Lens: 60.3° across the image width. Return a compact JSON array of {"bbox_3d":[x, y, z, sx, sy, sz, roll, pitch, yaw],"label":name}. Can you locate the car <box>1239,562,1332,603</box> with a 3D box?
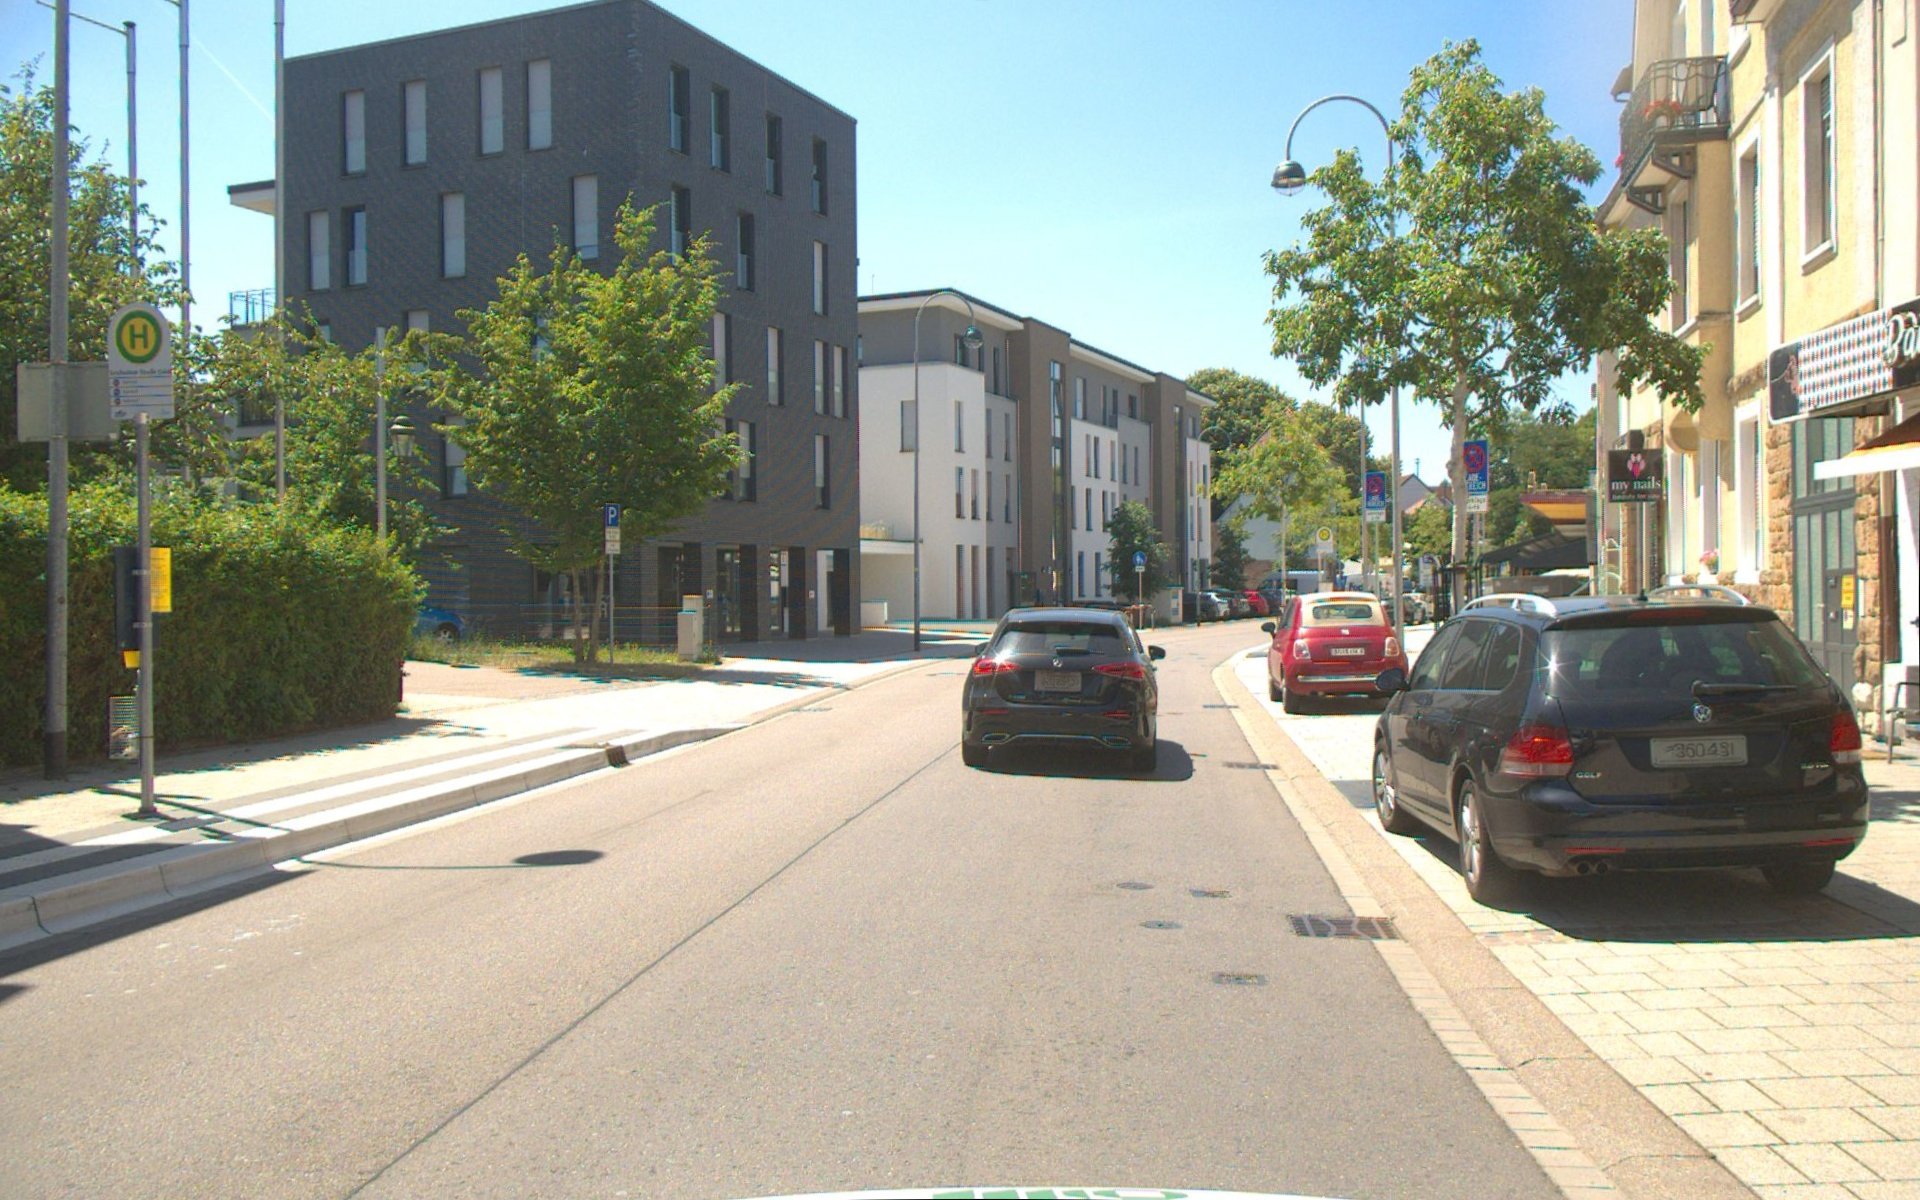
[{"bbox_3d":[21.236,-1.143,107.887,5.532,2.624,2.512,0,0,27],"label":"car"}]

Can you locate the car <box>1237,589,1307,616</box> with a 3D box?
[{"bbox_3d":[19.462,0.154,103.065,3.908,1.691,1.998,0,0,25],"label":"car"}]

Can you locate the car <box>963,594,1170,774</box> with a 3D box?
[{"bbox_3d":[1.109,0.708,16.309,1.725,1.483,4.441,2,0,5],"label":"car"}]

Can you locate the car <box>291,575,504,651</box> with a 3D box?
[{"bbox_3d":[-12.515,0.277,36.977,1.961,1.596,4.150,0,0,37],"label":"car"}]

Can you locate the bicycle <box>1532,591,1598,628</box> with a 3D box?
[{"bbox_3d":[19.995,0.315,54.666,2.006,1.199,0.892,0,0,25],"label":"bicycle"}]

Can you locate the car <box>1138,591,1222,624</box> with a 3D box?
[{"bbox_3d":[11.281,0.370,84.810,3.908,1.691,1.998,0,0,25],"label":"car"}]

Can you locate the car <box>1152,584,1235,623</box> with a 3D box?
[{"bbox_3d":[12.308,0.181,87.100,3.909,2.049,1.998,0,0,27],"label":"car"}]

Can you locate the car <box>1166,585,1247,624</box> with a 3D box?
[{"bbox_3d":[13.338,0.242,89.355,3.909,2.049,1.998,0,0,27],"label":"car"}]

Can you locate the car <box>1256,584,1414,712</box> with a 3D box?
[{"bbox_3d":[5.004,0.597,22.456,1.572,1.557,3.494,-2,0,4],"label":"car"}]

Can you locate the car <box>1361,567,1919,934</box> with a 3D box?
[{"bbox_3d":[3.464,0.660,9.153,1.713,1.512,4.002,-3,0,4],"label":"car"}]

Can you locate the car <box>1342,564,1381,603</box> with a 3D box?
[{"bbox_3d":[21.528,-0.876,88.556,1.951,2.049,4.003,0,0,15],"label":"car"}]

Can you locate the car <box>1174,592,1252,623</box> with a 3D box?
[{"bbox_3d":[14.053,0.411,91.847,3.908,1.691,1.998,0,0,25],"label":"car"}]

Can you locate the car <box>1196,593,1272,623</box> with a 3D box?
[{"bbox_3d":[15.621,0.444,94.275,3.908,1.691,1.998,0,0,25],"label":"car"}]

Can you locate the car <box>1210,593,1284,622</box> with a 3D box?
[{"bbox_3d":[16.998,0.424,97.920,3.908,1.691,1.998,0,0,25],"label":"car"}]
